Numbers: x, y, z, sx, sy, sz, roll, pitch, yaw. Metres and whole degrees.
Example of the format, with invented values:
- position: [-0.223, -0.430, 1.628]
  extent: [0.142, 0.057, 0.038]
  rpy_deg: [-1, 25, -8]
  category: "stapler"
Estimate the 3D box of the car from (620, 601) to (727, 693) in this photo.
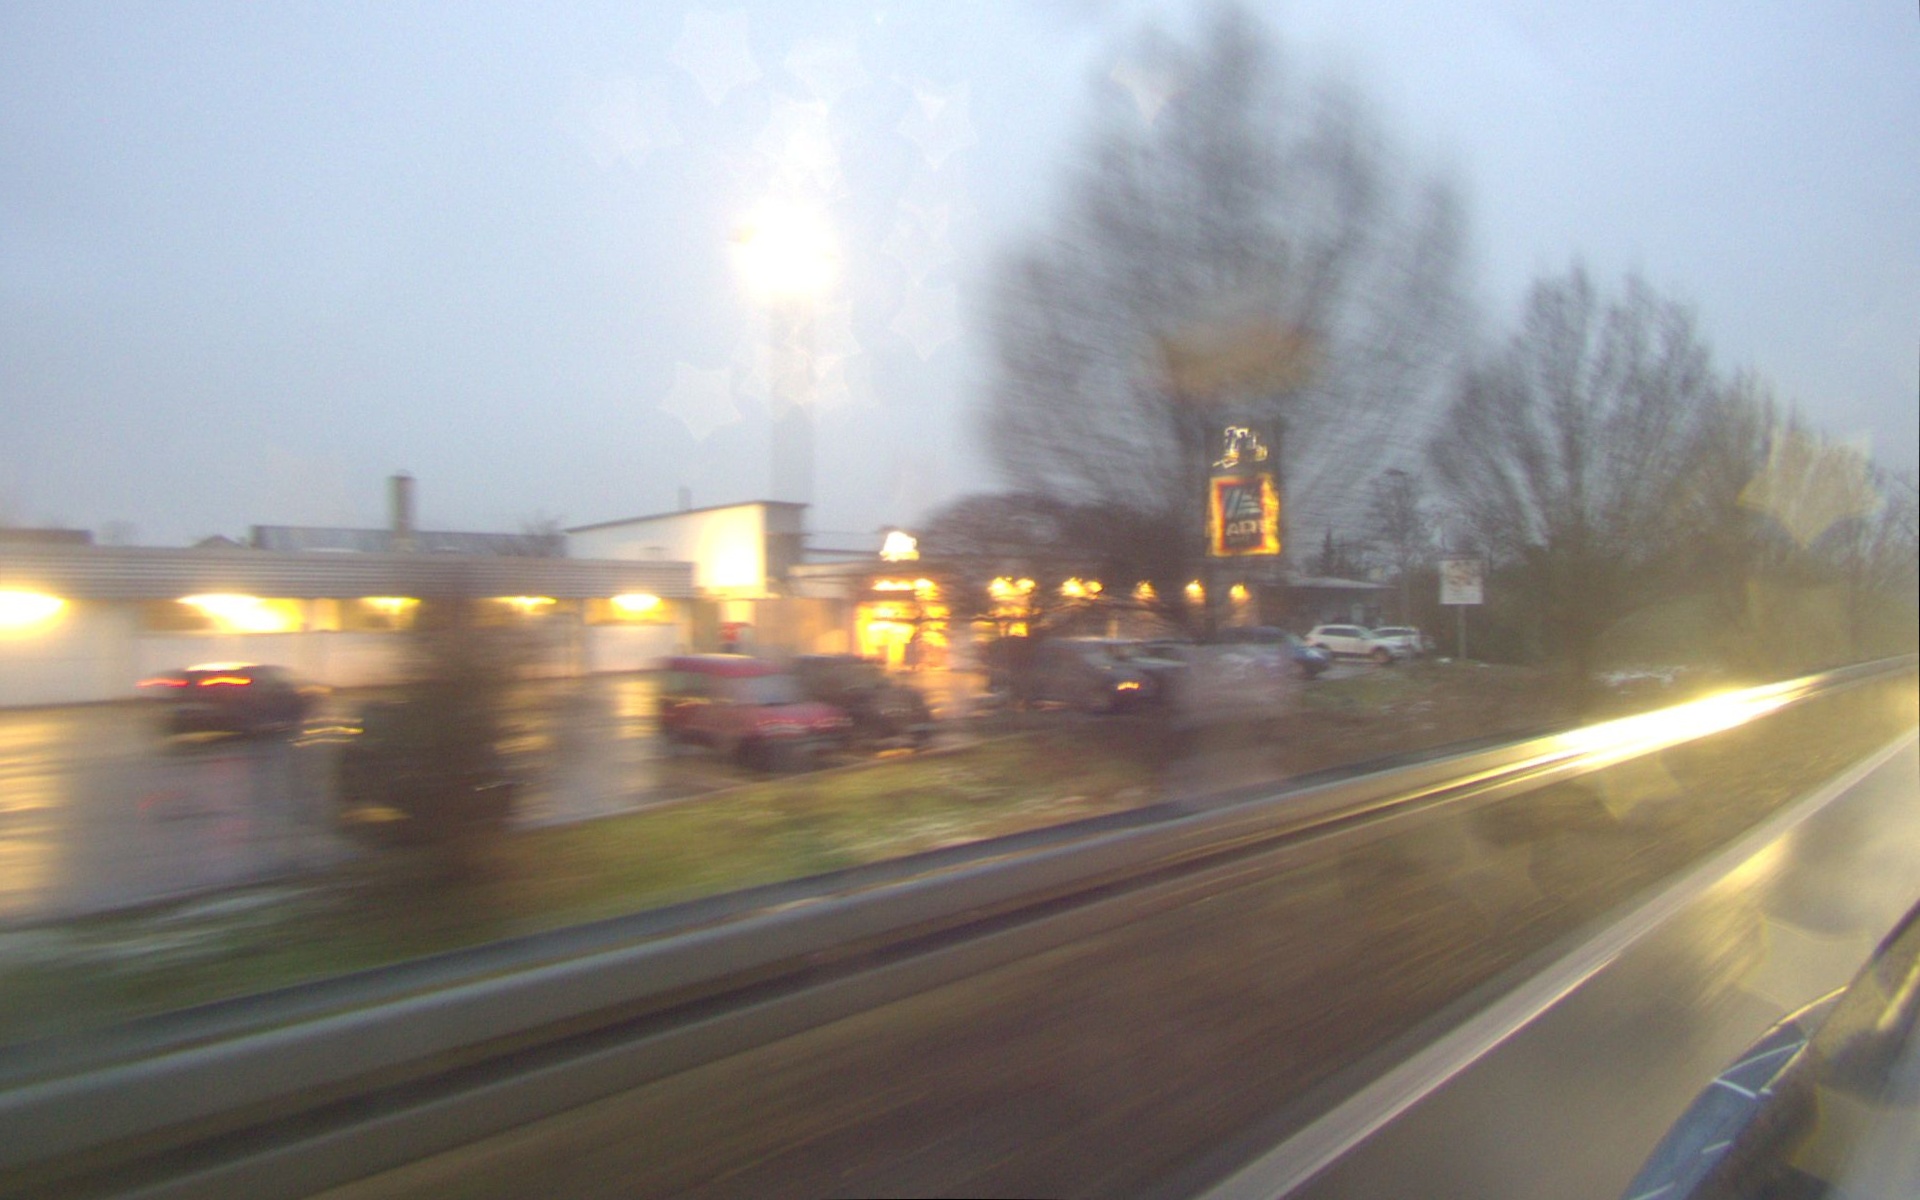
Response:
- position: [-9.150, 1.418, 32.690]
  extent: [2.061, 2.552, 4.365]
  rpy_deg: [-3, 1, 1]
  category: "car"

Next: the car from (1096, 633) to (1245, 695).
- position: [6.285, 1.870, 30.508]
  extent: [4.121, 1.439, 1.639]
  rpy_deg: [3, 3, 40]
  category: "car"

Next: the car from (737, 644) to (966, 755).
- position: [-2.146, 1.828, 19.686]
  extent: [4.109, 1.751, 1.999]
  rpy_deg: [0, 1, 33]
  category: "car"

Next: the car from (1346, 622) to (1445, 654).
- position: [21.669, 1.899, 50.419]
  extent: [4.168, 1.537, 1.972]
  rpy_deg: [-2, -4, 38]
  category: "car"

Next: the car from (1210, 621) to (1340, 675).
- position: [11.694, 1.731, 37.659]
  extent: [4.232, 1.878, 1.975]
  rpy_deg: [0, -1, 35]
  category: "car"

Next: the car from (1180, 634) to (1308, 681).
- position: [9.808, 1.970, 35.026]
  extent: [3.849, 1.497, 1.975]
  rpy_deg: [-2, -2, 35]
  category: "car"

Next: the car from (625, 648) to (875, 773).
- position: [-3.697, 1.809, 17.647]
  extent: [4.111, 1.746, 1.997]
  rpy_deg: [0, 0, 34]
  category: "car"

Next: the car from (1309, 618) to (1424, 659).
- position: [18.289, 1.717, 45.637]
  extent: [4.385, 1.737, 1.970]
  rpy_deg: [-2, -2, 41]
  category: "car"

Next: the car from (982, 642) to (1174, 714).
- position: [2.963, 1.918, 25.960]
  extent: [4.705, 1.508, 1.642]
  rpy_deg: [0, 1, 36]
  category: "car"

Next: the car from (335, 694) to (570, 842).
- position: [-6.913, 2.128, 13.644]
  extent: [3.533, 1.441, 1.638]
  rpy_deg: [-2, 0, 42]
  category: "car"

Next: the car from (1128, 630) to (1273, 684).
- position: [7.886, 1.858, 33.346]
  extent: [4.232, 1.651, 1.975]
  rpy_deg: [-2, -3, 35]
  category: "car"

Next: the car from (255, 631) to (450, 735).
- position: [-15.034, 1.969, 25.397]
  extent: [2.062, 2.044, 4.364]
  rpy_deg: [-3, 1, 2]
  category: "car"

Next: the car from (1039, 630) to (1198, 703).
- position: [4.433, 1.827, 28.575]
  extent: [4.115, 1.858, 1.641]
  rpy_deg: [-2, 0, 37]
  category: "car"
